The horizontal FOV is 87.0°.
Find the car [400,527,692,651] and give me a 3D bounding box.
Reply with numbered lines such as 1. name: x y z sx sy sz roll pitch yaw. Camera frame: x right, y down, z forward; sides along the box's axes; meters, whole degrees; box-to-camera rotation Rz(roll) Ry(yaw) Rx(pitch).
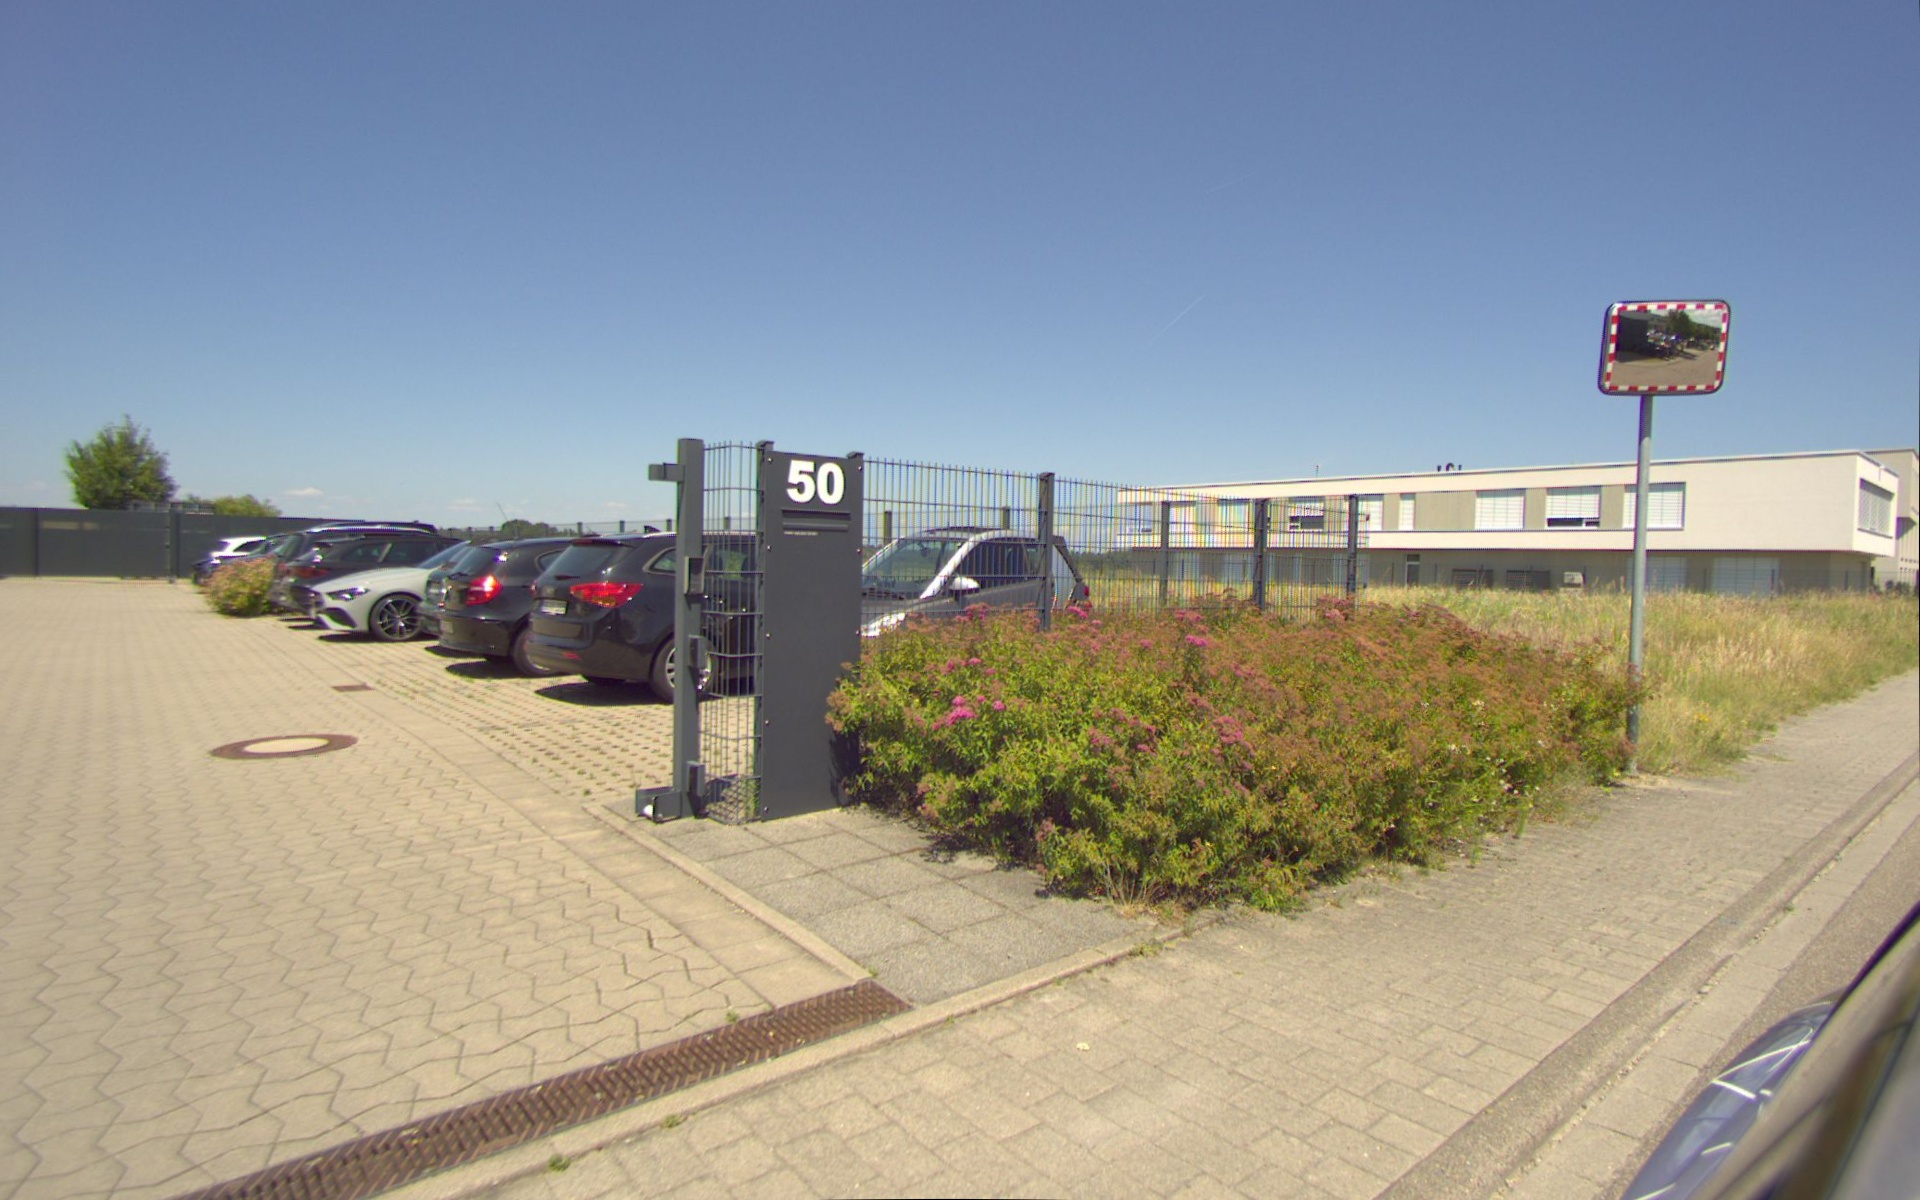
1. car: -5.375 -0.202 13.331 3.275 1.430 1.460 -2 4 -42

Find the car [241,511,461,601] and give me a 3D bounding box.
1. car: -13.839 -1.004 23.115 4.056 1.869 1.751 -2 4 -42

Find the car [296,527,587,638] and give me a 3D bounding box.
1. car: -7.371 -0.301 14.563 3.480 1.414 1.517 -2 4 -42

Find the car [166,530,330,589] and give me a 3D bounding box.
1. car: -19.860 -1.130 28.306 3.586 1.545 1.528 -2 4 -42

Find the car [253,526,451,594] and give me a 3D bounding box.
1. car: -15.367 -1.028 25.698 4.056 1.592 1.751 -2 4 -42

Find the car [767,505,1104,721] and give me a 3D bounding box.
1. car: -0.172 0.029 8.874 2.615 1.593 1.470 -2 4 -41

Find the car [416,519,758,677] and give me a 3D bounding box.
1. car: -4.085 -0.095 11.332 3.275 1.514 1.517 -2 4 -42

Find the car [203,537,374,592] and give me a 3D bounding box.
1. car: -17.657 -0.957 26.706 3.586 1.365 1.529 -2 4 -42

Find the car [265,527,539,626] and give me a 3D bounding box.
1. car: -9.085 -0.426 16.662 3.720 1.448 1.517 -2 4 -42

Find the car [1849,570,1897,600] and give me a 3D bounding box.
1. car: 51.505 -0.811 57.075 4.010 1.577 1.670 1 1 -44

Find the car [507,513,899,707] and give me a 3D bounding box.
1. car: -2.328 0.006 9.557 3.275 1.514 1.517 -2 4 -42

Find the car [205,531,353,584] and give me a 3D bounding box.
1. car: -20.862 -1.307 31.063 3.586 1.545 1.528 -2 4 -42

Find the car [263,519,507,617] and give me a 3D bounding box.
1. car: -10.631 -0.625 18.853 3.720 1.653 1.517 -2 4 -42
